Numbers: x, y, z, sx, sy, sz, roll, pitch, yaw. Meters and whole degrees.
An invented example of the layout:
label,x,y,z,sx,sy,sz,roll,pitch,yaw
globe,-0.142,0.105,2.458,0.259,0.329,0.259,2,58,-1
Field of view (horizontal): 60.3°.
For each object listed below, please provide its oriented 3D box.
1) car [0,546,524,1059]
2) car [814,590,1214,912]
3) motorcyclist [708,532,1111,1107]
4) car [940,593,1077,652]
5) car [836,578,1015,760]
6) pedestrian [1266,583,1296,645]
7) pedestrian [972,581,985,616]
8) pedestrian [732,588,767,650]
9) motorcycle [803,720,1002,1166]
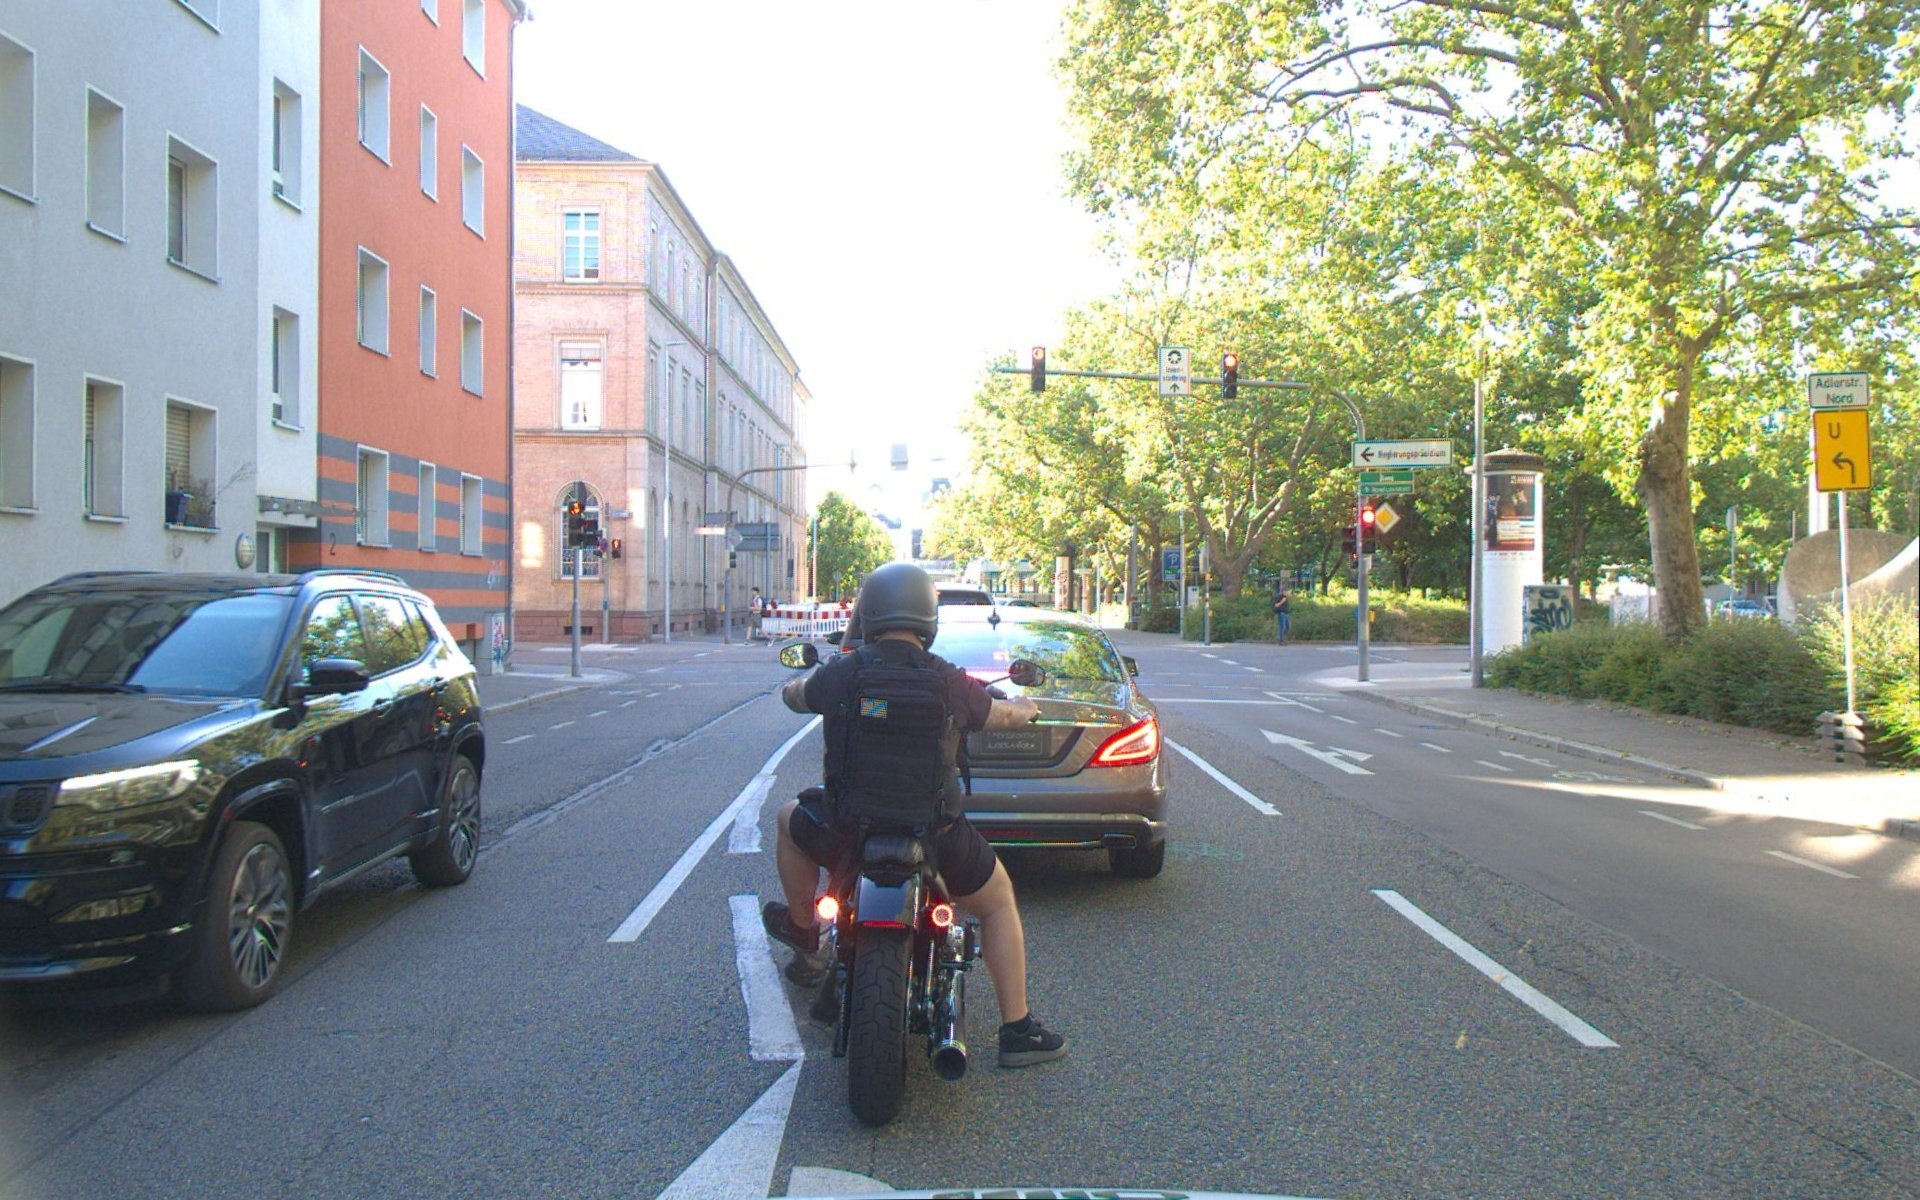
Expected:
label,x,y,z,sx,sy,sz,roll,pitch,yaw
car,-3.417,0.632,7.357,1.812,1.597,4.384,1,0,-1
car,0.227,0.695,9.611,1.844,1.475,3.819,1,0,-1
motorcyclist,-0.151,0.632,5.381,1.125,1.626,1.288,1,0,-1
car,1.442,0.643,47.620,1.823,1.602,4.116,1,0,39
car,-0.339,0.607,16.719,1.588,1.622,3.999,0,0,-1
pedestrian,10.126,0.448,52.228,0.903,1.943,0.752,1,-1,10
pedestrian,1.130,-0.081,100.900,0.748,2.087,0.712,1,-1,-1
pedestrian,-6.399,0.576,50.376,0.982,1.858,1.075,1,-1,-6
motorcycle,-0.164,0.970,5.334,0.503,1.020,2.013,1,0,-1
